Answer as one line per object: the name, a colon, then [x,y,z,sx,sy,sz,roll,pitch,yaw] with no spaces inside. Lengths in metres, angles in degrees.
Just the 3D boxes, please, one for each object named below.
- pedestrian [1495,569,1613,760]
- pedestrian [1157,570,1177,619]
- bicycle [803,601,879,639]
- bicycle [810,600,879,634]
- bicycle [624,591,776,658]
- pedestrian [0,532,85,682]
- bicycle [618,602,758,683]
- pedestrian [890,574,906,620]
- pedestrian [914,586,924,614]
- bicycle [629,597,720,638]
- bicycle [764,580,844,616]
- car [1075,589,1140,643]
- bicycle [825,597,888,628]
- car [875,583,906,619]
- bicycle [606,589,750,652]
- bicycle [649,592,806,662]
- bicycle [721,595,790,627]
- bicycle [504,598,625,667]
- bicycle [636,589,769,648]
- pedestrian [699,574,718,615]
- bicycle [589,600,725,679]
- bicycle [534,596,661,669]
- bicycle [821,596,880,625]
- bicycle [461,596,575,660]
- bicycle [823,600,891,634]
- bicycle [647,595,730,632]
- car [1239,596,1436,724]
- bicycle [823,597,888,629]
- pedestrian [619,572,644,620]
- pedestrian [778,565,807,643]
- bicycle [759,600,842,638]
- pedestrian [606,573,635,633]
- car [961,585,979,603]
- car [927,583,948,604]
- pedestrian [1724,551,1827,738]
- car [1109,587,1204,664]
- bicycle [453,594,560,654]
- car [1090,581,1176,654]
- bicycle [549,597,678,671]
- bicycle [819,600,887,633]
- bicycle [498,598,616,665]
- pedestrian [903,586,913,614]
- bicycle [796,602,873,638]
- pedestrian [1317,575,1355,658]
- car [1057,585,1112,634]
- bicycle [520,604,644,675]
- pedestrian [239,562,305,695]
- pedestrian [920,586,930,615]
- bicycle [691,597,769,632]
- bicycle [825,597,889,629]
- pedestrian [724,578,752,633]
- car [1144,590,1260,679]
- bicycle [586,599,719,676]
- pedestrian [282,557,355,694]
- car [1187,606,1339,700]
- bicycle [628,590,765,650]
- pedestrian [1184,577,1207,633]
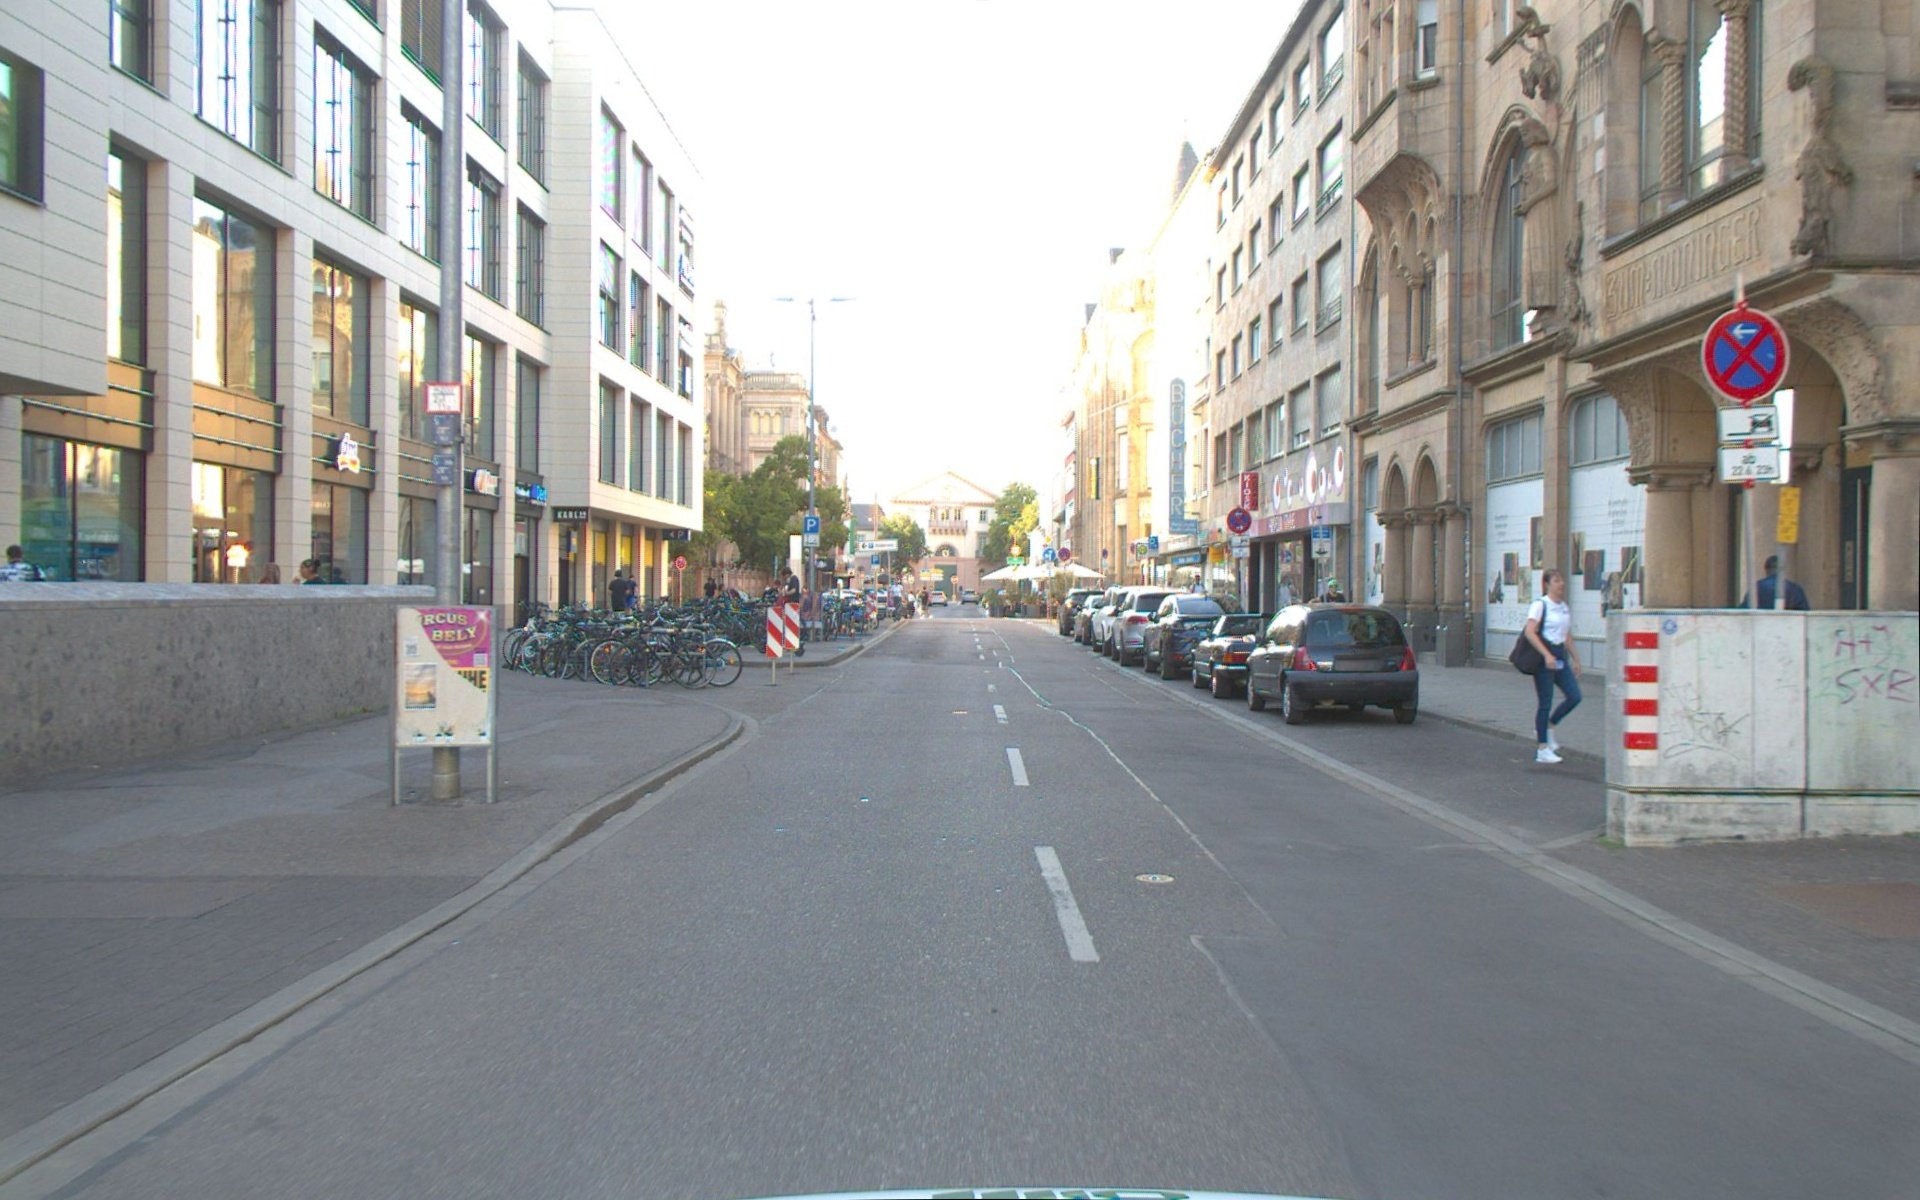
pedestrian: [5.578,0.587,15.551,0.818,1.751,0.681,0,0,-8]
pedestrian: [7.517,-0.206,60.123,0.631,1.776,0.671,0,0,-2]
bicycle: [-3.410,0.562,47.432,2.103,1.047,0.640,0,0,1]
bicycle: [-3.605,0.529,51.640,2.103,1.047,0.640,0,0,1]
bicycle: [-5.064,0.462,32.314,2.852,1.277,0.797,0,0,-27]
pedestrian: [-11.204,0.083,20.118,0.766,1.781,0.600,2,0,-3]
bicycle: [-3.994,0.629,24.384,1.946,1.141,0.553,2,0,-29]
pedestrian: [-2.506,-0.126,67.156,0.588,1.855,0.451,0,0,-10]
pedestrian: [-2.232,-0.002,89.638,0.538,1.512,0.565,0,0,-2]
bicycle: [-6.985,0.420,40.492,2.103,0.970,0.640,0,0,1]
bicycle: [-4.253,-0.060,45.071,2.103,0.970,0.640,0,0,1]
car: [4.491,0.458,50.794,1.644,1.574,3.673,-1,0,0]
bicycle: [-3.541,0.427,56.862,2.103,1.047,0.640,0,0,1]
car: [-4.086,0.021,97.275,1.676,2.049,4.000,0,0,0]
bicycle: [-5.870,0.421,34.497,2.852,1.277,0.797,0,0,-27]
bicycle: [-4.382,0.492,31.234,2.852,1.277,0.797,0,0,-27]
bicycle: [-6.484,0.349,52.477,2.103,0.970,0.640,0,0,1]
bicycle: [-6.824,0.566,28.563,1.946,1.141,0.553,2,0,-29]
bicycle: [-5.735,0.410,36.946,2.852,1.277,0.797,0,0,-27]
pedestrian: [-10.280,-0.216,67.596,0.666,1.649,0.573,0,0,-1]
bicycle: [-4.597,0.603,25.131,1.946,1.141,0.553,2,0,-29]
bicycle: [-5.981,0.542,27.336,1.946,1.141,0.553,2,0,-29]
bicycle: [-4.020,0.386,60.658,2.103,1.047,0.640,0,0,1]
bicycle: [-8.161,0.520,30.550,1.946,1.141,0.553,2,0,-29]
bicycle: [-3.268,0.536,52.432,2.103,1.047,0.640,0,0,1]
bicycle: [-7.296,0.349,44.522,2.103,0.970,0.640,0,0,1]
car: [4.710,0.695,21.108,1.644,1.449,3.673,-1,0,0]
bicycle: [-3.471,0.440,55.057,2.103,1.047,0.640,0,0,1]
pedestrian: [-11.486,-0.135,57.820,0.716,1.649,0.661,0,0,-1]
pedestrian: [-4.039,0.094,39.853,0.645,1.855,0.527,0,0,-11]
bicycle: [-4.210,0.503,43.655,2.103,0.970,0.640,0,0,1]
pedestrian: [-9.377,0.084,45.736,0.666,1.649,0.573,0,0,-1]
car: [1.107,-0.657,183.839,1.953,1.937,4.000,2,0,-1]
car: [-2.233,-0.655,165.193,1.953,1.937,4.000,2,0,-1]
pedestrian: [7.646,0.404,15.525,0.612,1.719,0.671,0,0,-2]
car: [4.412,0.529,37.590,1.644,1.641,4.028,-1,0,0]
bicycle: [-8.963,0.479,32.716,1.946,1.141,0.553,2,0,-29]
car: [4.495,0.423,43.611,1.762,1.799,4.397,-1,0,0]
bicycle: [-5.583,0.560,26.697,1.946,1.141,0.553,2,0,-29]
bicycle: [-3.433,0.525,53.161,2.103,1.047,0.640,0,0,1]
bicycle: [-7.175,0.560,29.508,1.946,1.141,0.553,2,0,-29]
pedestrian: [-2.788,-0.015,88.630,0.538,1.512,0.565,0,0,-2]
bicycle: [-3.522,0.564,46.555,2.103,0.970,0.640,0,0,1]
pedestrian: [7.856,0.334,34.584,0.631,1.719,0.671,0,0,-2]
car: [4.465,0.321,59.706,1.644,1.695,3.673,-1,0,0]
bicycle: [-6.378,0.669,27.961,1.946,1.141,0.553,2,0,-29]
pedestrian: [-8.925,0.364,21.466,0.588,1.675,0.546,2,0,-3]
pedestrian: [-1.866,0.020,88.150,0.538,1.512,0.565,0,0,-2]
bicycle: [-6.505,0.396,46.914,2.103,0.970,0.640,0,0,1]
bicycle: [-3.483,0.435,55.827,2.103,1.047,0.640,0,0,1]
pedestrian: [-6.374,0.163,47.561,0.736,1.556,0.485,0,0,-1]
car: [4.552,0.601,31.533,1.644,1.574,3.673,-1,0,0]
bicycle: [-4.791,0.592,25.847,1.946,1.141,0.553,2,0,-29]
pedestrian: [-8.267,0.322,21.328,0.667,1.710,0.600,2,0,-3]
car: [4.738,0.787,26.339,1.644,1.313,4.046,-1,0,0]
bicycle: [-5.721,0.417,35.971,2.852,1.277,0.797,0,0,-27]
pedestrian: [7.777,0.148,54.671,0.631,1.831,0.671,0,0,-2]
